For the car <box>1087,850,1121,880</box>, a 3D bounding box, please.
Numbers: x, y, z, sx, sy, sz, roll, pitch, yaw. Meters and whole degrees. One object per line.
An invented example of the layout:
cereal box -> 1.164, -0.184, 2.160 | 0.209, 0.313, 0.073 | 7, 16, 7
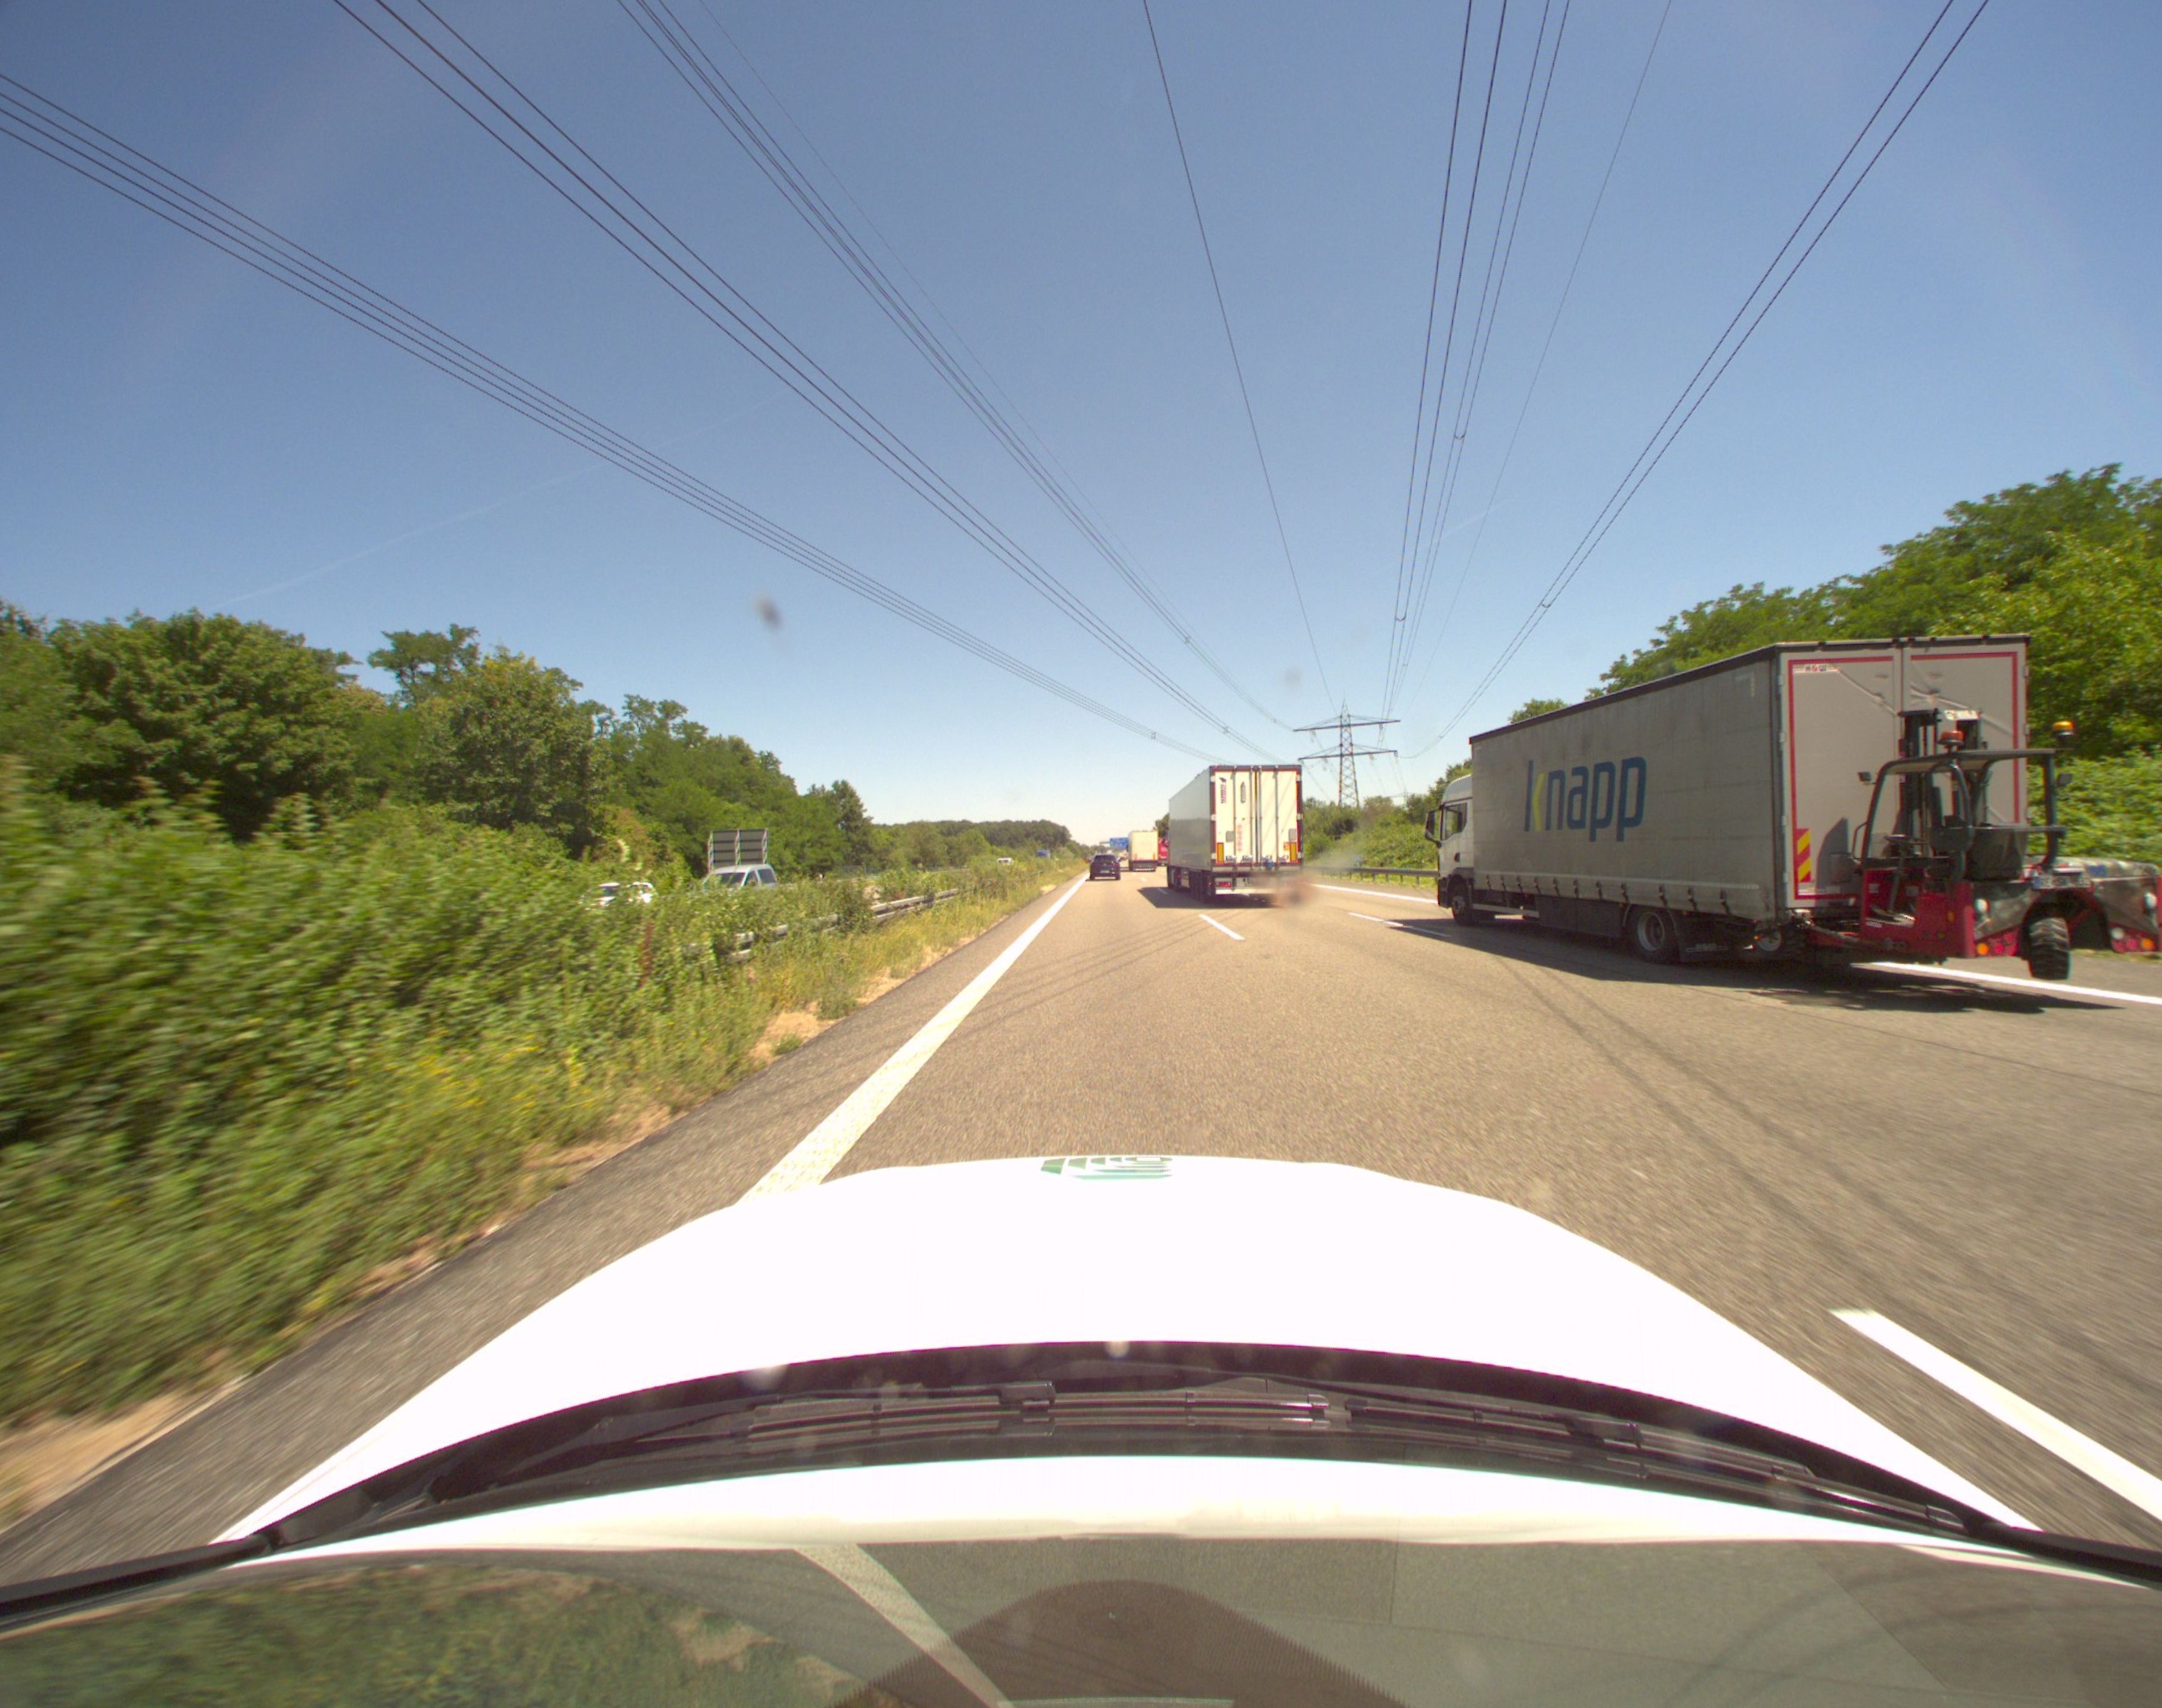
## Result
car -> 1.464, 0.685, 52.903 | 1.987, 1.772, 3.999 | -2, 0, 0

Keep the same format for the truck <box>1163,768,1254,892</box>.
truck -> 5.397, -0.939, 35.642 | 3.076, 4.885, 6.599 | 0, 0, 1

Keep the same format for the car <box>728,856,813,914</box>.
car -> -11.925, 1.144, 31.498 | 1.726, 2.013, 3.589 | -3, 0, 2

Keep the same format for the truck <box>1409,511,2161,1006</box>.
truck -> 9.120, -0.797, 12.803 | 3.557, 4.245, 11.655 | 0, 0, 2

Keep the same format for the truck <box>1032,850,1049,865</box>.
truck -> -10.343, 0.864, 210.547 | 3.500, 3.769, 12.045 | -1, 0, 1

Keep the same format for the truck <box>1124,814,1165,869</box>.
truck -> 6.317, -1.211, 83.230 | 3.500, 5.166, 10.260 | -1, 0, 1

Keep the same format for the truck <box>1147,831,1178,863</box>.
truck -> 12.152, -1.004, 122.268 | 3.499, 4.492, 13.252 | -1, 0, 1

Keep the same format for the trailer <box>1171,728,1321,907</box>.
trailer -> 5.208, -0.972, 28.469 | 3.075, 4.885, 12.261 | 0, 0, 2
